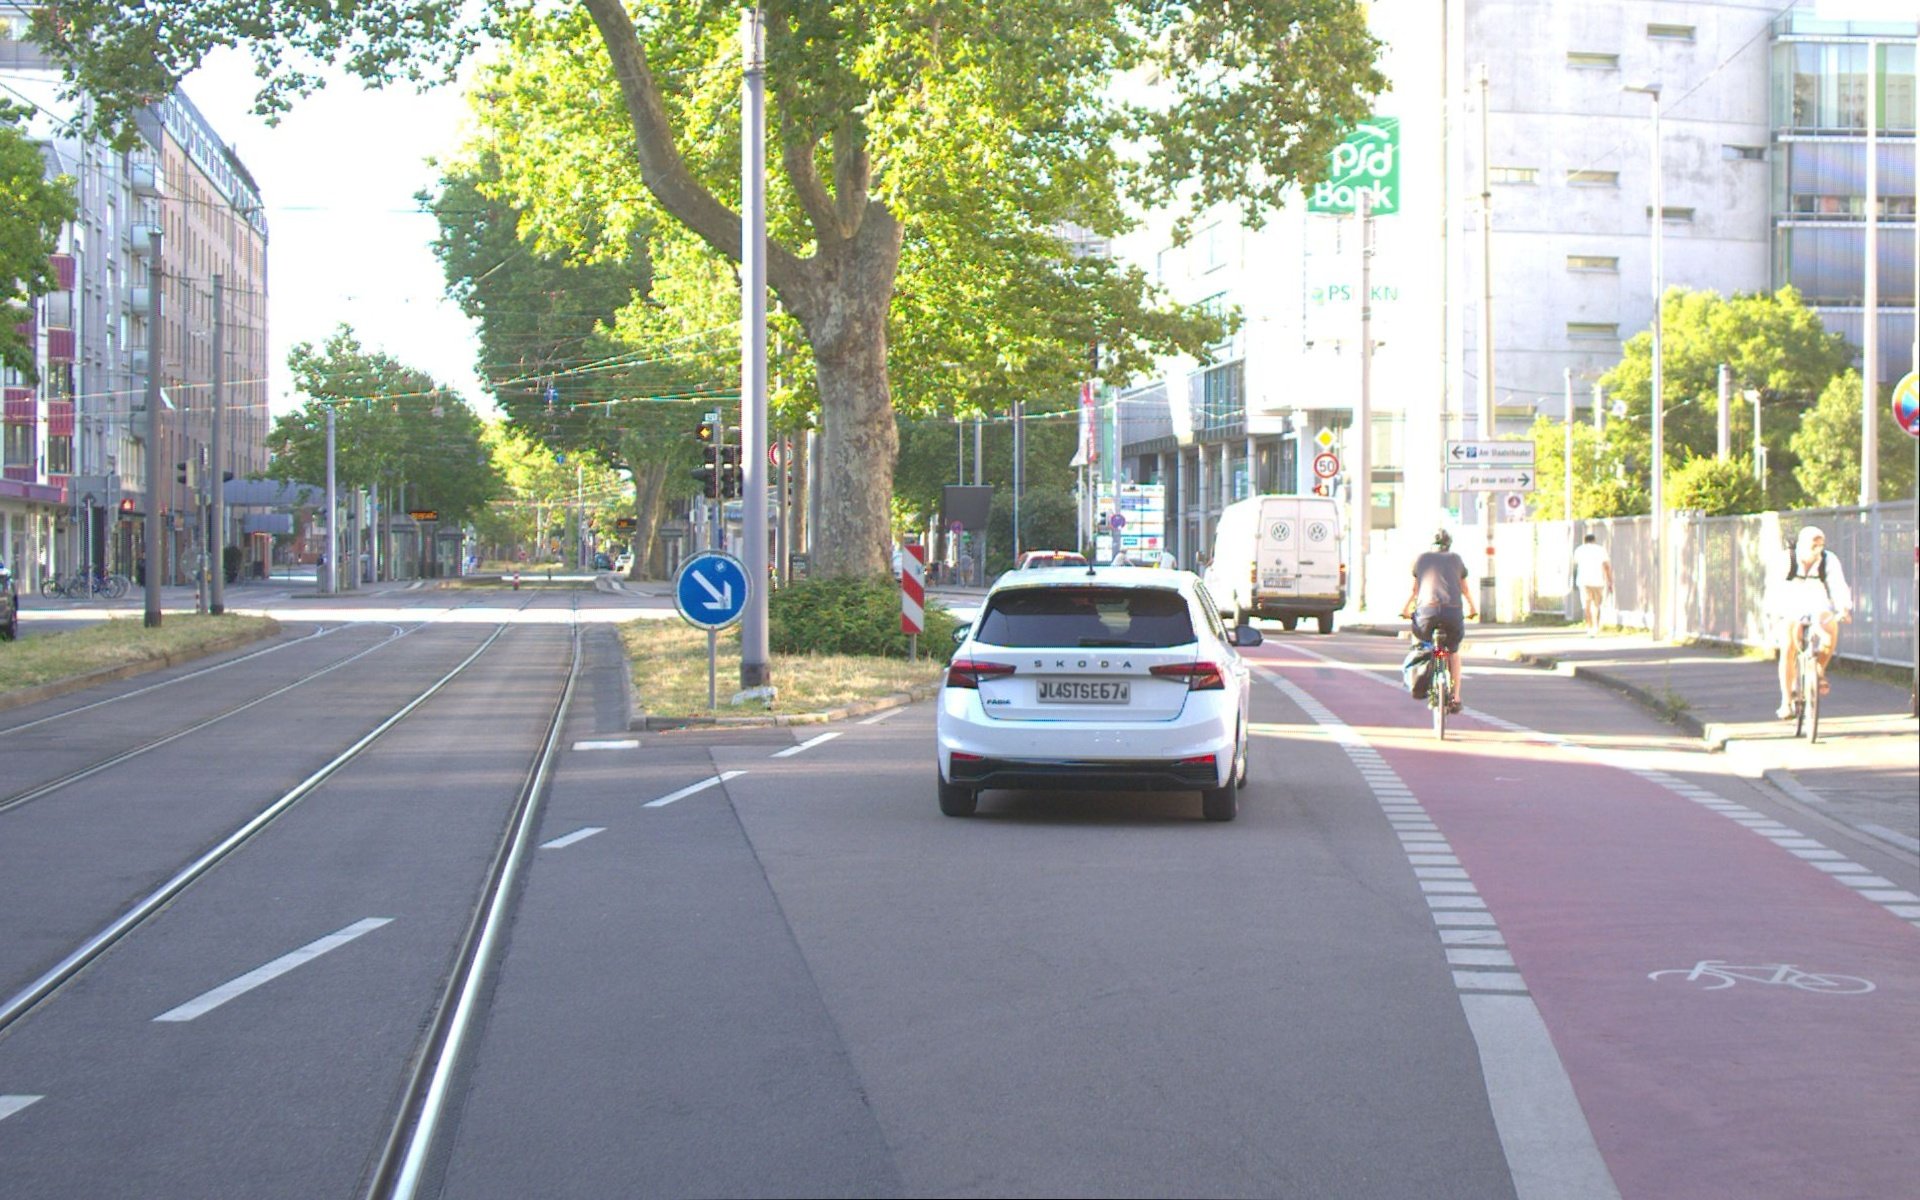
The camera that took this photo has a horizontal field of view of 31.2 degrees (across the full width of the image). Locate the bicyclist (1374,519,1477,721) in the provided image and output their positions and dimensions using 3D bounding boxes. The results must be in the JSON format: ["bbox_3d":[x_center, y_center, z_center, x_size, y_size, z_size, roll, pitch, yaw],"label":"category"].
[{"bbox_3d":[3.931,0.161,29.076,0.743,1.663,0.745,2,1,3],"label":"bicyclist"}]

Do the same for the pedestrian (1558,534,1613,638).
[{"bbox_3d":[10.608,-0.244,58.274,0.786,1.742,0.772,0,1,0],"label":"pedestrian"}]

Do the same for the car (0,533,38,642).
[{"bbox_3d":[-15.972,-0.225,54.738,1.993,1.683,4.311,0,1,-8],"label":"car"}]

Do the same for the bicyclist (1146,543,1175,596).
[{"bbox_3d":[6.128,-0.927,104.963,0.785,1.629,0.639,0,1,-7],"label":"bicyclist"}]

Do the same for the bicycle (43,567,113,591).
[{"bbox_3d":[-28.816,-0.686,112.329,2.169,0.784,0.641,0,1,-9],"label":"bicycle"}]

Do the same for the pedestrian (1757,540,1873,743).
[{"bbox_3d":[7.013,0.325,28.241,0.669,1.613,1.102,-2,1,3],"label":"pedestrian"}]

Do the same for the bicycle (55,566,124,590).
[{"bbox_3d":[-28.643,-0.737,113.110,2.169,0.784,0.492,0,1,-9],"label":"bicycle"}]

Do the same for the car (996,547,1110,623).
[{"bbox_3d":[1.852,-0.329,69.434,1.839,1.484,3.717,0,1,-6],"label":"car"}]

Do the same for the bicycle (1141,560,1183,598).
[{"bbox_3d":[6.158,-0.648,104.817,0.792,1.157,2.500,0,1,-8],"label":"bicycle"}]

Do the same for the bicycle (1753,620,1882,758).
[{"bbox_3d":[7.025,0.710,28.228,0.674,1.028,1.900,-2,1,4],"label":"bicycle"}]

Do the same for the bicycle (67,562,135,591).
[{"bbox_3d":[-28.761,-0.797,115.109,2.169,0.947,0.492,0,1,-9],"label":"bicycle"}]

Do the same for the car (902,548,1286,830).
[{"bbox_3d":[0.911,0.460,20.775,1.803,1.496,3.980,1,1,9],"label":"car"}]

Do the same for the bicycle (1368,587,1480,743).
[{"bbox_3d":[3.925,0.529,29.230,0.744,1.220,2.156,2,1,3],"label":"bicycle"}]

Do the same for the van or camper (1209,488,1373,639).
[{"bbox_3d":[6.423,-0.735,67.530,2.269,2.724,6.347,3,1,-2],"label":"van or camper"}]

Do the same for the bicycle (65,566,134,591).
[{"bbox_3d":[-28.648,-0.716,114.474,2.169,0.821,0.528,0,1,-9],"label":"bicycle"}]
